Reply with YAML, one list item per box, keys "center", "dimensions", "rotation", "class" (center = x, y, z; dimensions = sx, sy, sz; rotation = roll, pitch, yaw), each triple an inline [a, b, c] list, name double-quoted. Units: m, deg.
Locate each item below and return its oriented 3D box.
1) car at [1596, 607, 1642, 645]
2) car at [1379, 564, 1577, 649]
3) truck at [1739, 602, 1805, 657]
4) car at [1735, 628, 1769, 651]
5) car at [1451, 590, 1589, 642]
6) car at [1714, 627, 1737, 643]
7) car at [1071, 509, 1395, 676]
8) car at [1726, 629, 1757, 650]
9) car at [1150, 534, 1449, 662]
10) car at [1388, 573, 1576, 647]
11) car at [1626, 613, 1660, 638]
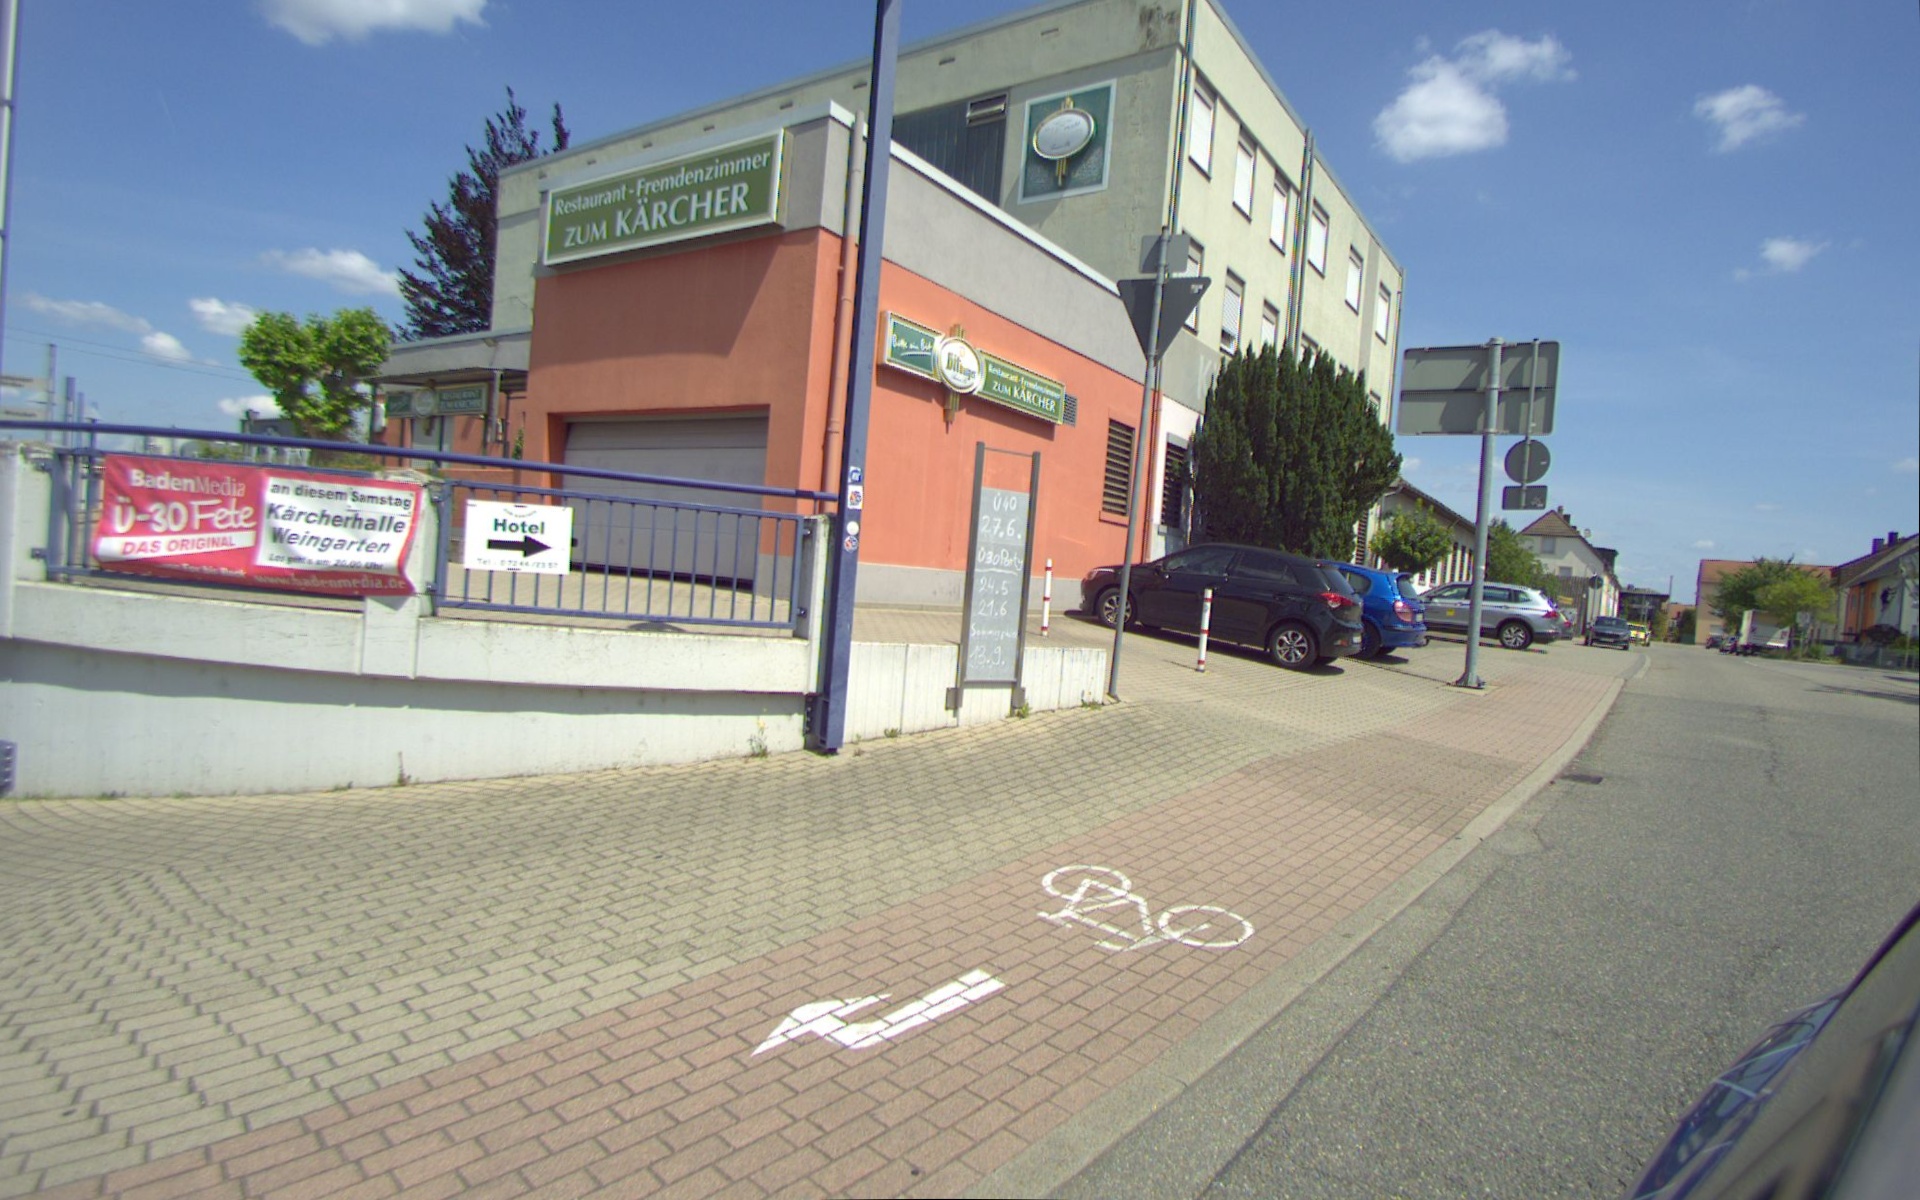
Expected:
- center: [30.726, 1.215, 47.194]
  dimensions: [1.623, 1.507, 4.089]
  rotation: [6, 2, 33]
  class: "car"
- center: [13.889, 0.140, 27.246]
  dimensions: [4.441, 1.717, 1.899]
  rotation: [8, 3, 34]
  class: "car"
- center: [56.628, 2.045, 70.738]
  dimensions: [2.431, 3.283, 6.953]
  rotation: [10, 4, 32]
  class: "truck"
- center: [64.173, 3.183, 82.097]
  dimensions: [1.712, 1.518, 4.163]
  rotation: [8, 3, 34]
  class: "car"
- center: [22.193, 0.627, 40.172]
  dimensions: [4.518, 1.471, 1.893]
  rotation: [8, 3, 36]
  class: "car"
- center: [84.745, 3.888, 112.067]
  dimensions: [1.712, 1.518, 4.163]
  rotation: [8, 3, 34]
  class: "car"
- center: [3.783, -0.193, 14.261]
  dimensions: [3.889, 1.506, 1.788]
  rotation: [14, 8, 33]
  class: "car"
- center: [67.626, 3.375, 87.628]
  dimensions: [1.712, 1.518, 4.163]
  rotation: [8, 3, 34]
  class: "car"
- center: [5.596, -0.125, 16.929]
  dimensions: [4.314, 1.455, 1.758]
  rotation: [10, 7, 35]
  class: "car"
- center: [15.018, 0.270, 29.196]
  dimensions: [4.491, 1.537, 1.974]
  rotation: [8, 3, 35]
  class: "car"
- center: [47.944, 1.798, 70.987]
  dimensions: [1.713, 1.414, 4.161]
  rotation: [10, 4, 35]
  class: "car"
